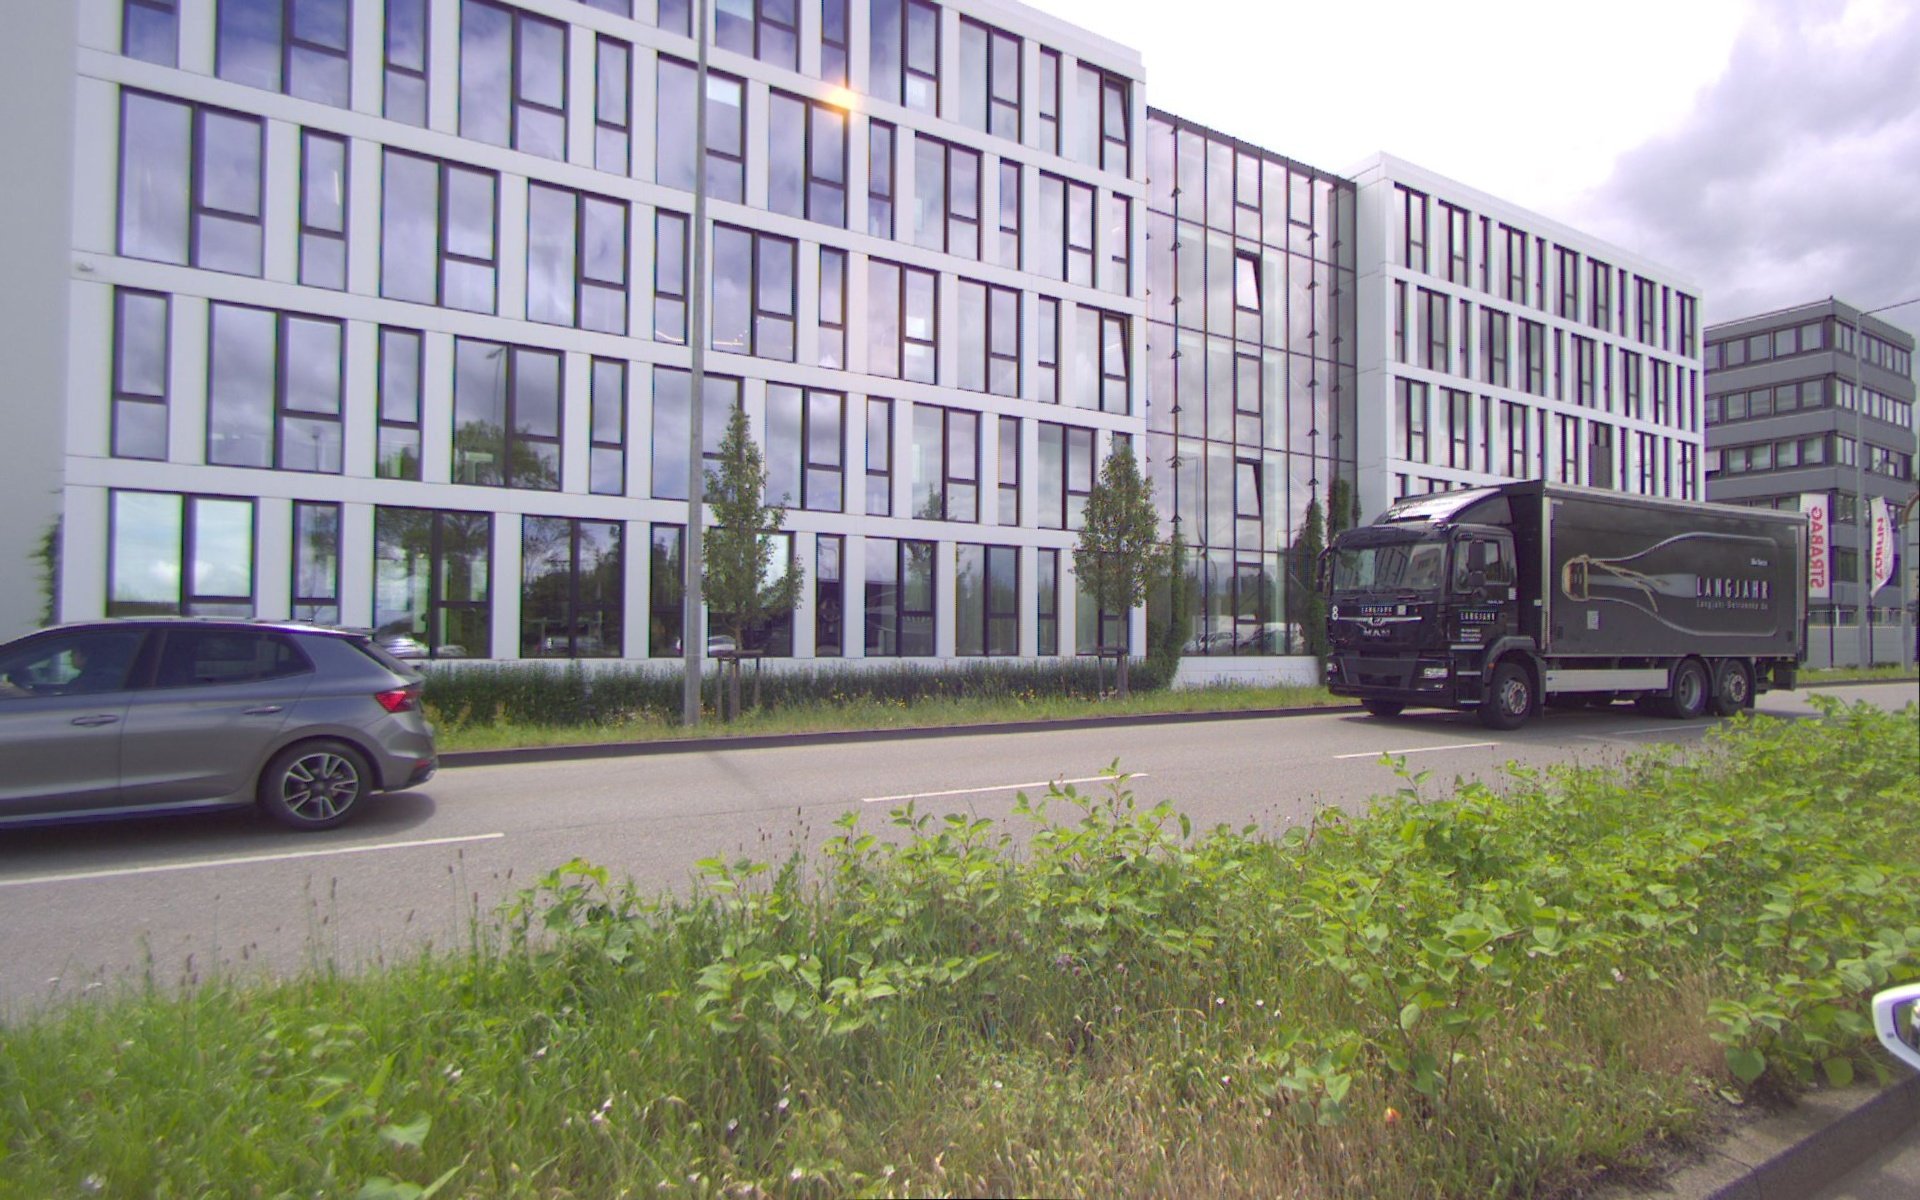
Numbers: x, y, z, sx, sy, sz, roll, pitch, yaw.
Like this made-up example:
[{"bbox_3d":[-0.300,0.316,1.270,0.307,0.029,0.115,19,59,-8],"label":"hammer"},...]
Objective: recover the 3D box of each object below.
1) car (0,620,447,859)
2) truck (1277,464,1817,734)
[{"bbox_3d":[-5.635,0.842,6.845,3.736,1.401,1.546,1,-1,-31],"label":"car"},{"bbox_3d":[9.995,0.059,16.785,9.401,3.565,3.157,1,0,-26],"label":"truck"}]
